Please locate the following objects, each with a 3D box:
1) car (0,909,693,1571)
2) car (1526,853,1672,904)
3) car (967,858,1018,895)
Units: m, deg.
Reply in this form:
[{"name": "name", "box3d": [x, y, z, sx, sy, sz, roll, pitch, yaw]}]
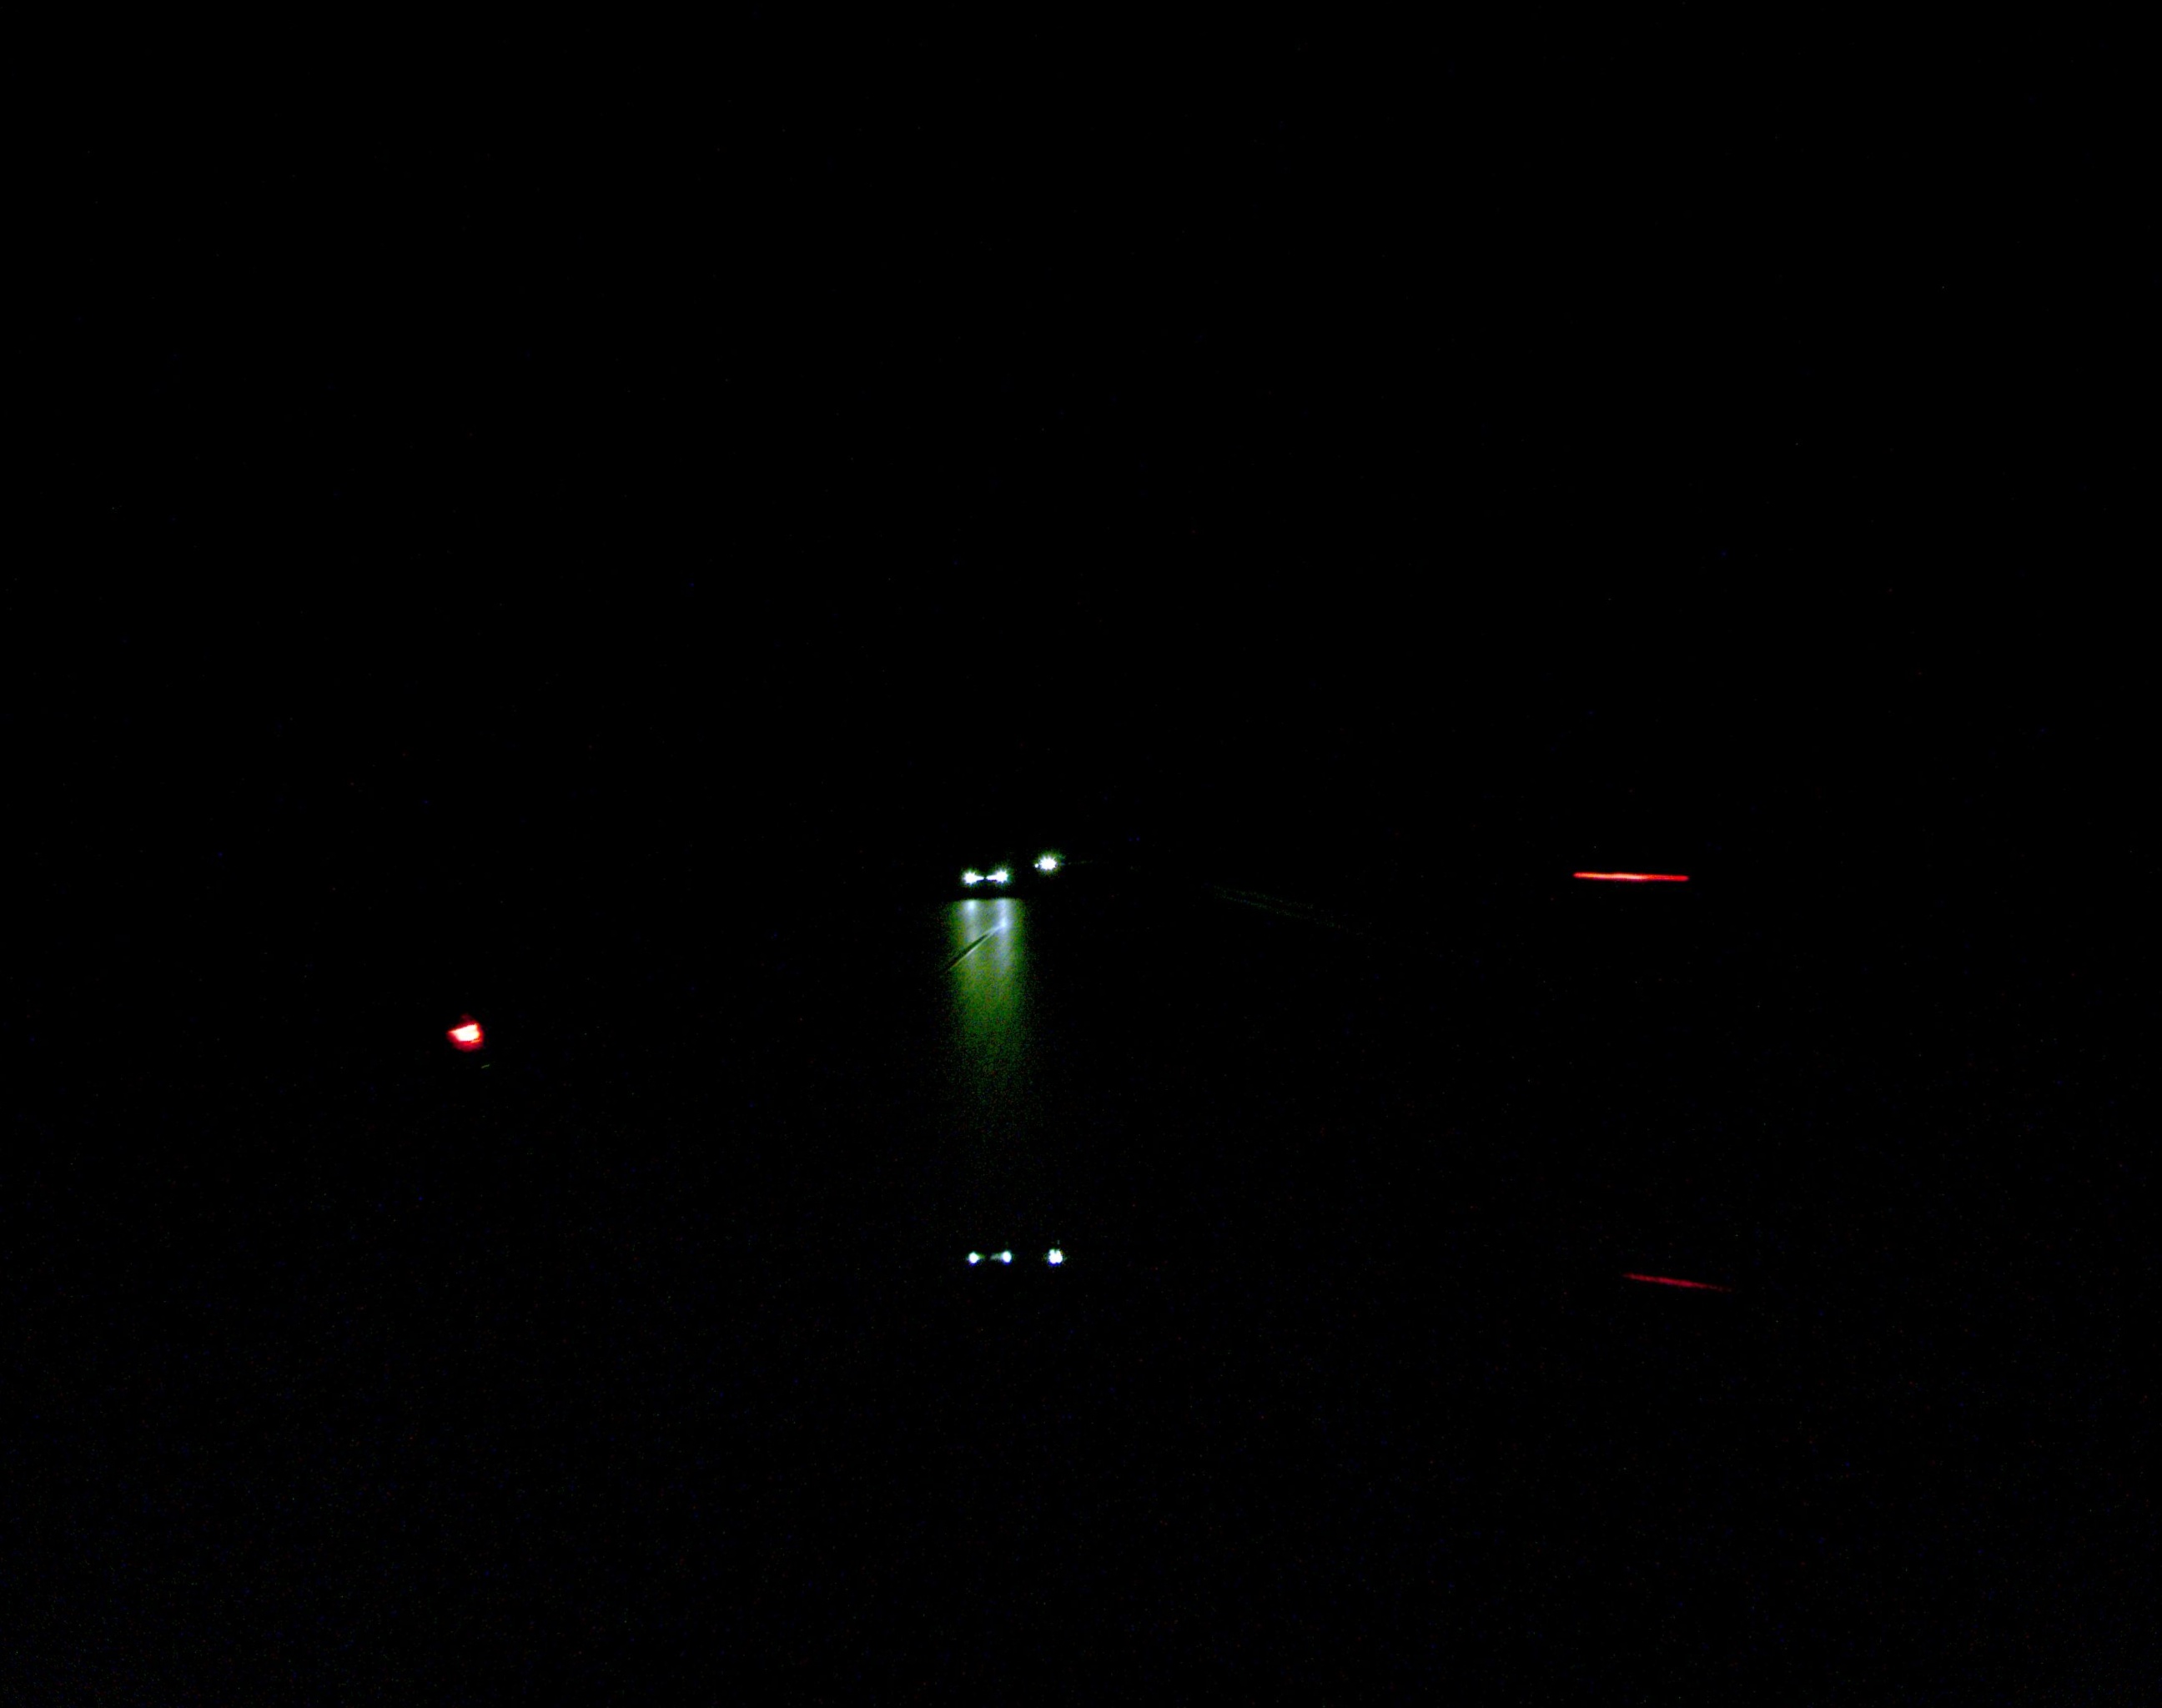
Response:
[{"name": "car", "box3d": [-3.533, 1.094, 3.074, 1.690, 1.405, 4.225, -1, 0, 1]}, {"name": "car", "box3d": [17.640, 0.776, 26.172, 1.795, 1.532, 4.551, 2, 0, -1]}, {"name": "car", "box3d": [-3.969, 0.959, 34.717, 1.795, 1.532, 4.225, -1, 0, 1]}]
